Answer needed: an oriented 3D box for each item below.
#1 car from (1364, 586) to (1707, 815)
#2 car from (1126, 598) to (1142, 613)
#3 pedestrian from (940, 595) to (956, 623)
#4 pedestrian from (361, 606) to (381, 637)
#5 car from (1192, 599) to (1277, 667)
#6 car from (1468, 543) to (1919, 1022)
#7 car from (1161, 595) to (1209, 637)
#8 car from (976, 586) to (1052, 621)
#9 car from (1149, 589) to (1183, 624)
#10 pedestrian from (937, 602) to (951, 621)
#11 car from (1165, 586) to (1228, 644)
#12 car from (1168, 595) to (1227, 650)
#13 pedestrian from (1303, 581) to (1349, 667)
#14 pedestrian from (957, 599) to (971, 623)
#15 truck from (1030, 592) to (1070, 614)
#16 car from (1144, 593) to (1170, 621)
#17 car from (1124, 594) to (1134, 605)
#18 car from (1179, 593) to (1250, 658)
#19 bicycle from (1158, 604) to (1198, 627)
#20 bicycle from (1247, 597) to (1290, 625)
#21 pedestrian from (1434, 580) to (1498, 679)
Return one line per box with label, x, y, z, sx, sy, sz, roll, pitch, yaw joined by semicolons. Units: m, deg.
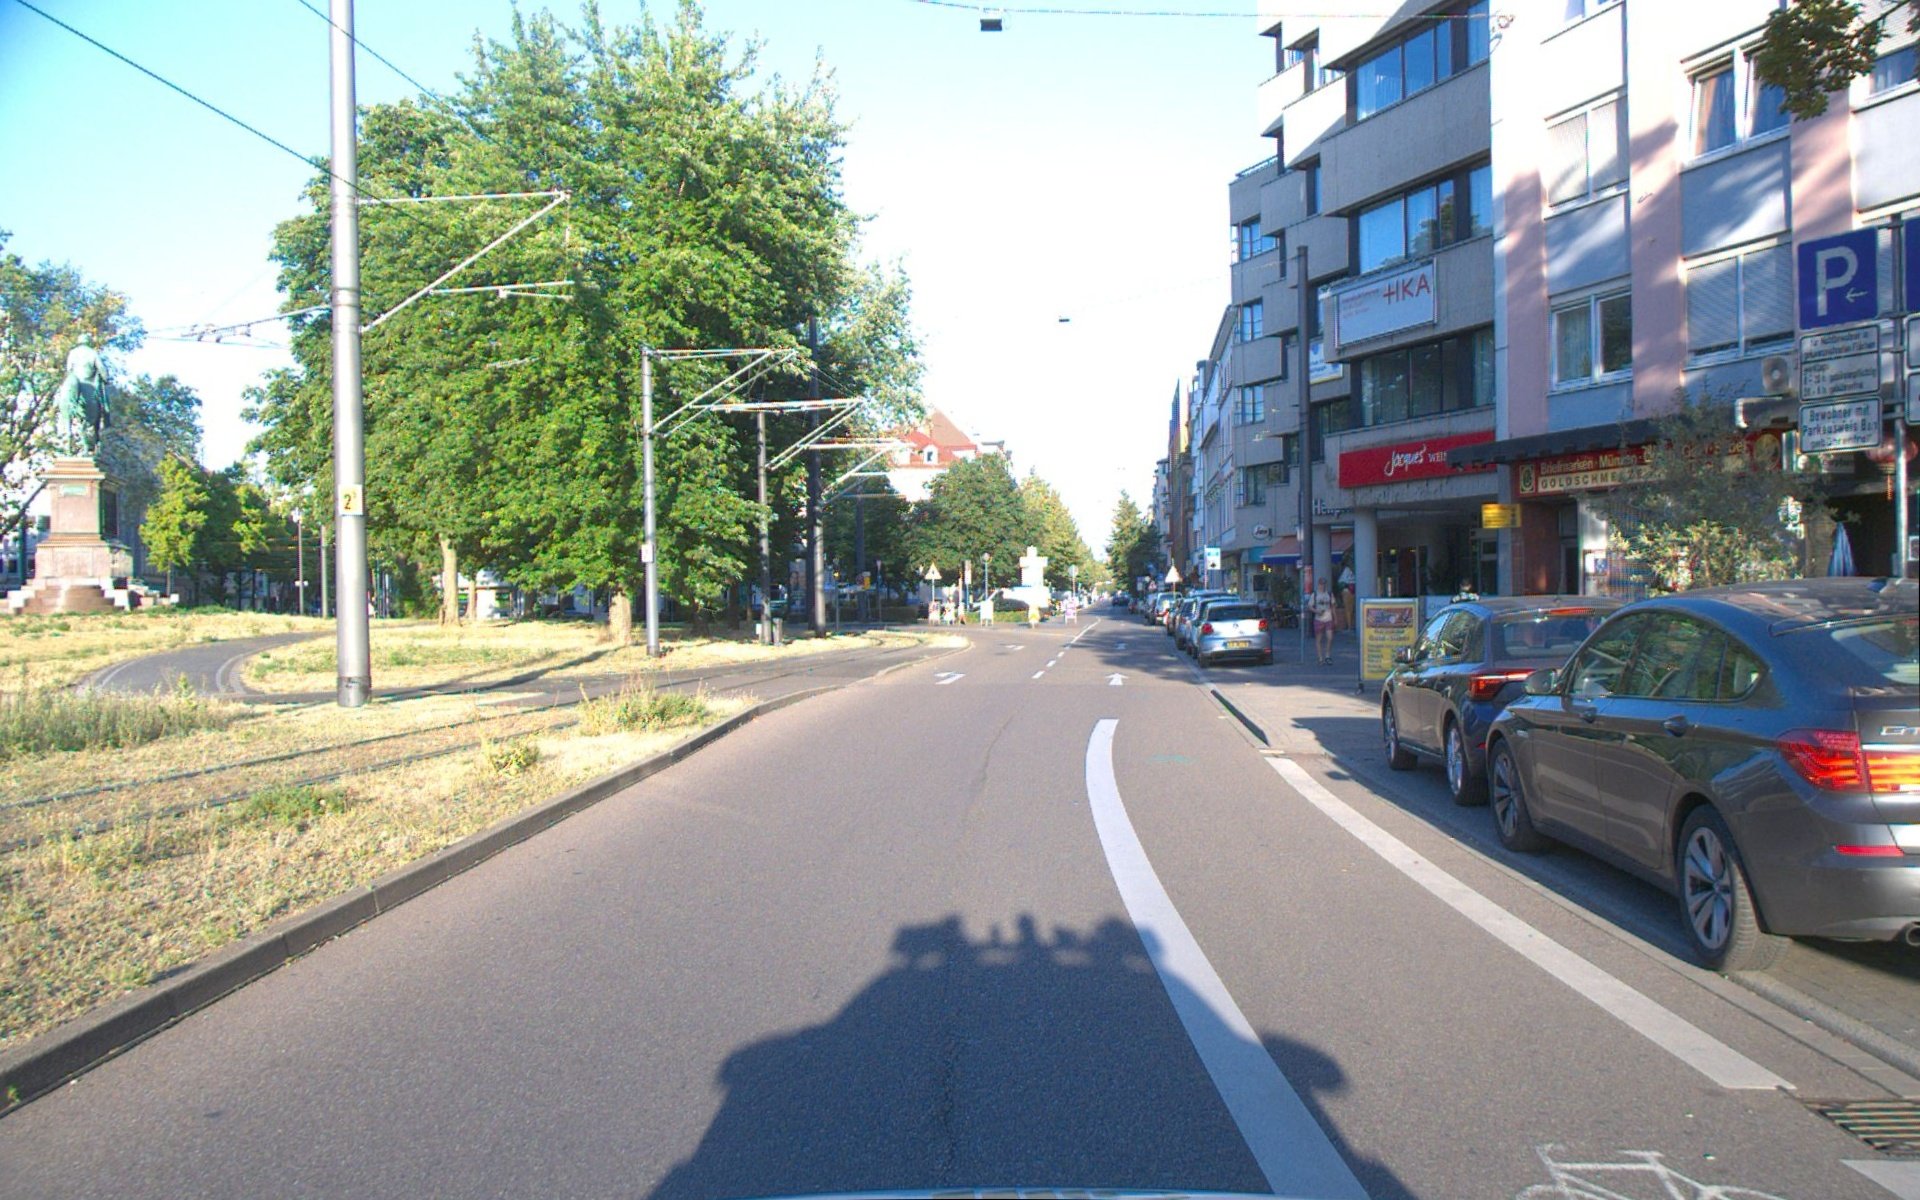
car;4.426;0.673;13.342;1.616;1.561;4.068;0;0;4
car;19.176;0.618;182.399;1.544;1.569;3.398;-3;-1;3
pedestrian;-0.687;0.518;94.315;0.690;1.586;0.687;0;0;-32
pedestrian;-37.113;1.351;104.264;0.843;1.872;0.997;0;2;6
car;6.332;0.732;38.483;1.747;1.482;4.003;-1;0;7
car;4.070;0.627;8.245;1.767;1.699;4.814;0;0;2
car;8.563;0.573;63.153;1.752;1.534;3.923;0;0;6
car;3.580;0.257;109.694;4.533;2.290;2.189;0;-1;-22
car;11.377;0.365;91.488;1.754;1.823;4.094;-1;0;6
pedestrian;-1.082;0.767;110.691;0.739;1.300;0.654;0;0;-32
car;7.824;0.467;55.049;1.746;1.836;4.403;0;0;4
car;7.105;0.643;49.685;1.606;1.555;4.003;0;0;6
pedestrian;7.829;0.497;35.367;0.629;1.817;0.852;0;0;-18
pedestrian;0.226;0.620;94.518;0.557;1.388;0.607;0;0;-32
truck;11.193;0.341;205.816;4.836;2.661;2.001;-1;-1;5
car;12.981;0.442;109.167;1.673;1.867;4.309;0;0;6
car;21.887;-0.081;214.497;1.181;1.323;2.661;0;-1;3
car;6.658;0.638;43.567;1.551;1.618;3.670;0;0;4
bicycle;10.484;0.749;79.570;1.753;1.007;0.541;-4;1;28
bicycle;12.593;0.455;67.481;1.869;1.022;0.453;-3;0;-34
pedestrian;8.679;0.494;28.383;0.629;1.655;0.852;-3;1;-18
